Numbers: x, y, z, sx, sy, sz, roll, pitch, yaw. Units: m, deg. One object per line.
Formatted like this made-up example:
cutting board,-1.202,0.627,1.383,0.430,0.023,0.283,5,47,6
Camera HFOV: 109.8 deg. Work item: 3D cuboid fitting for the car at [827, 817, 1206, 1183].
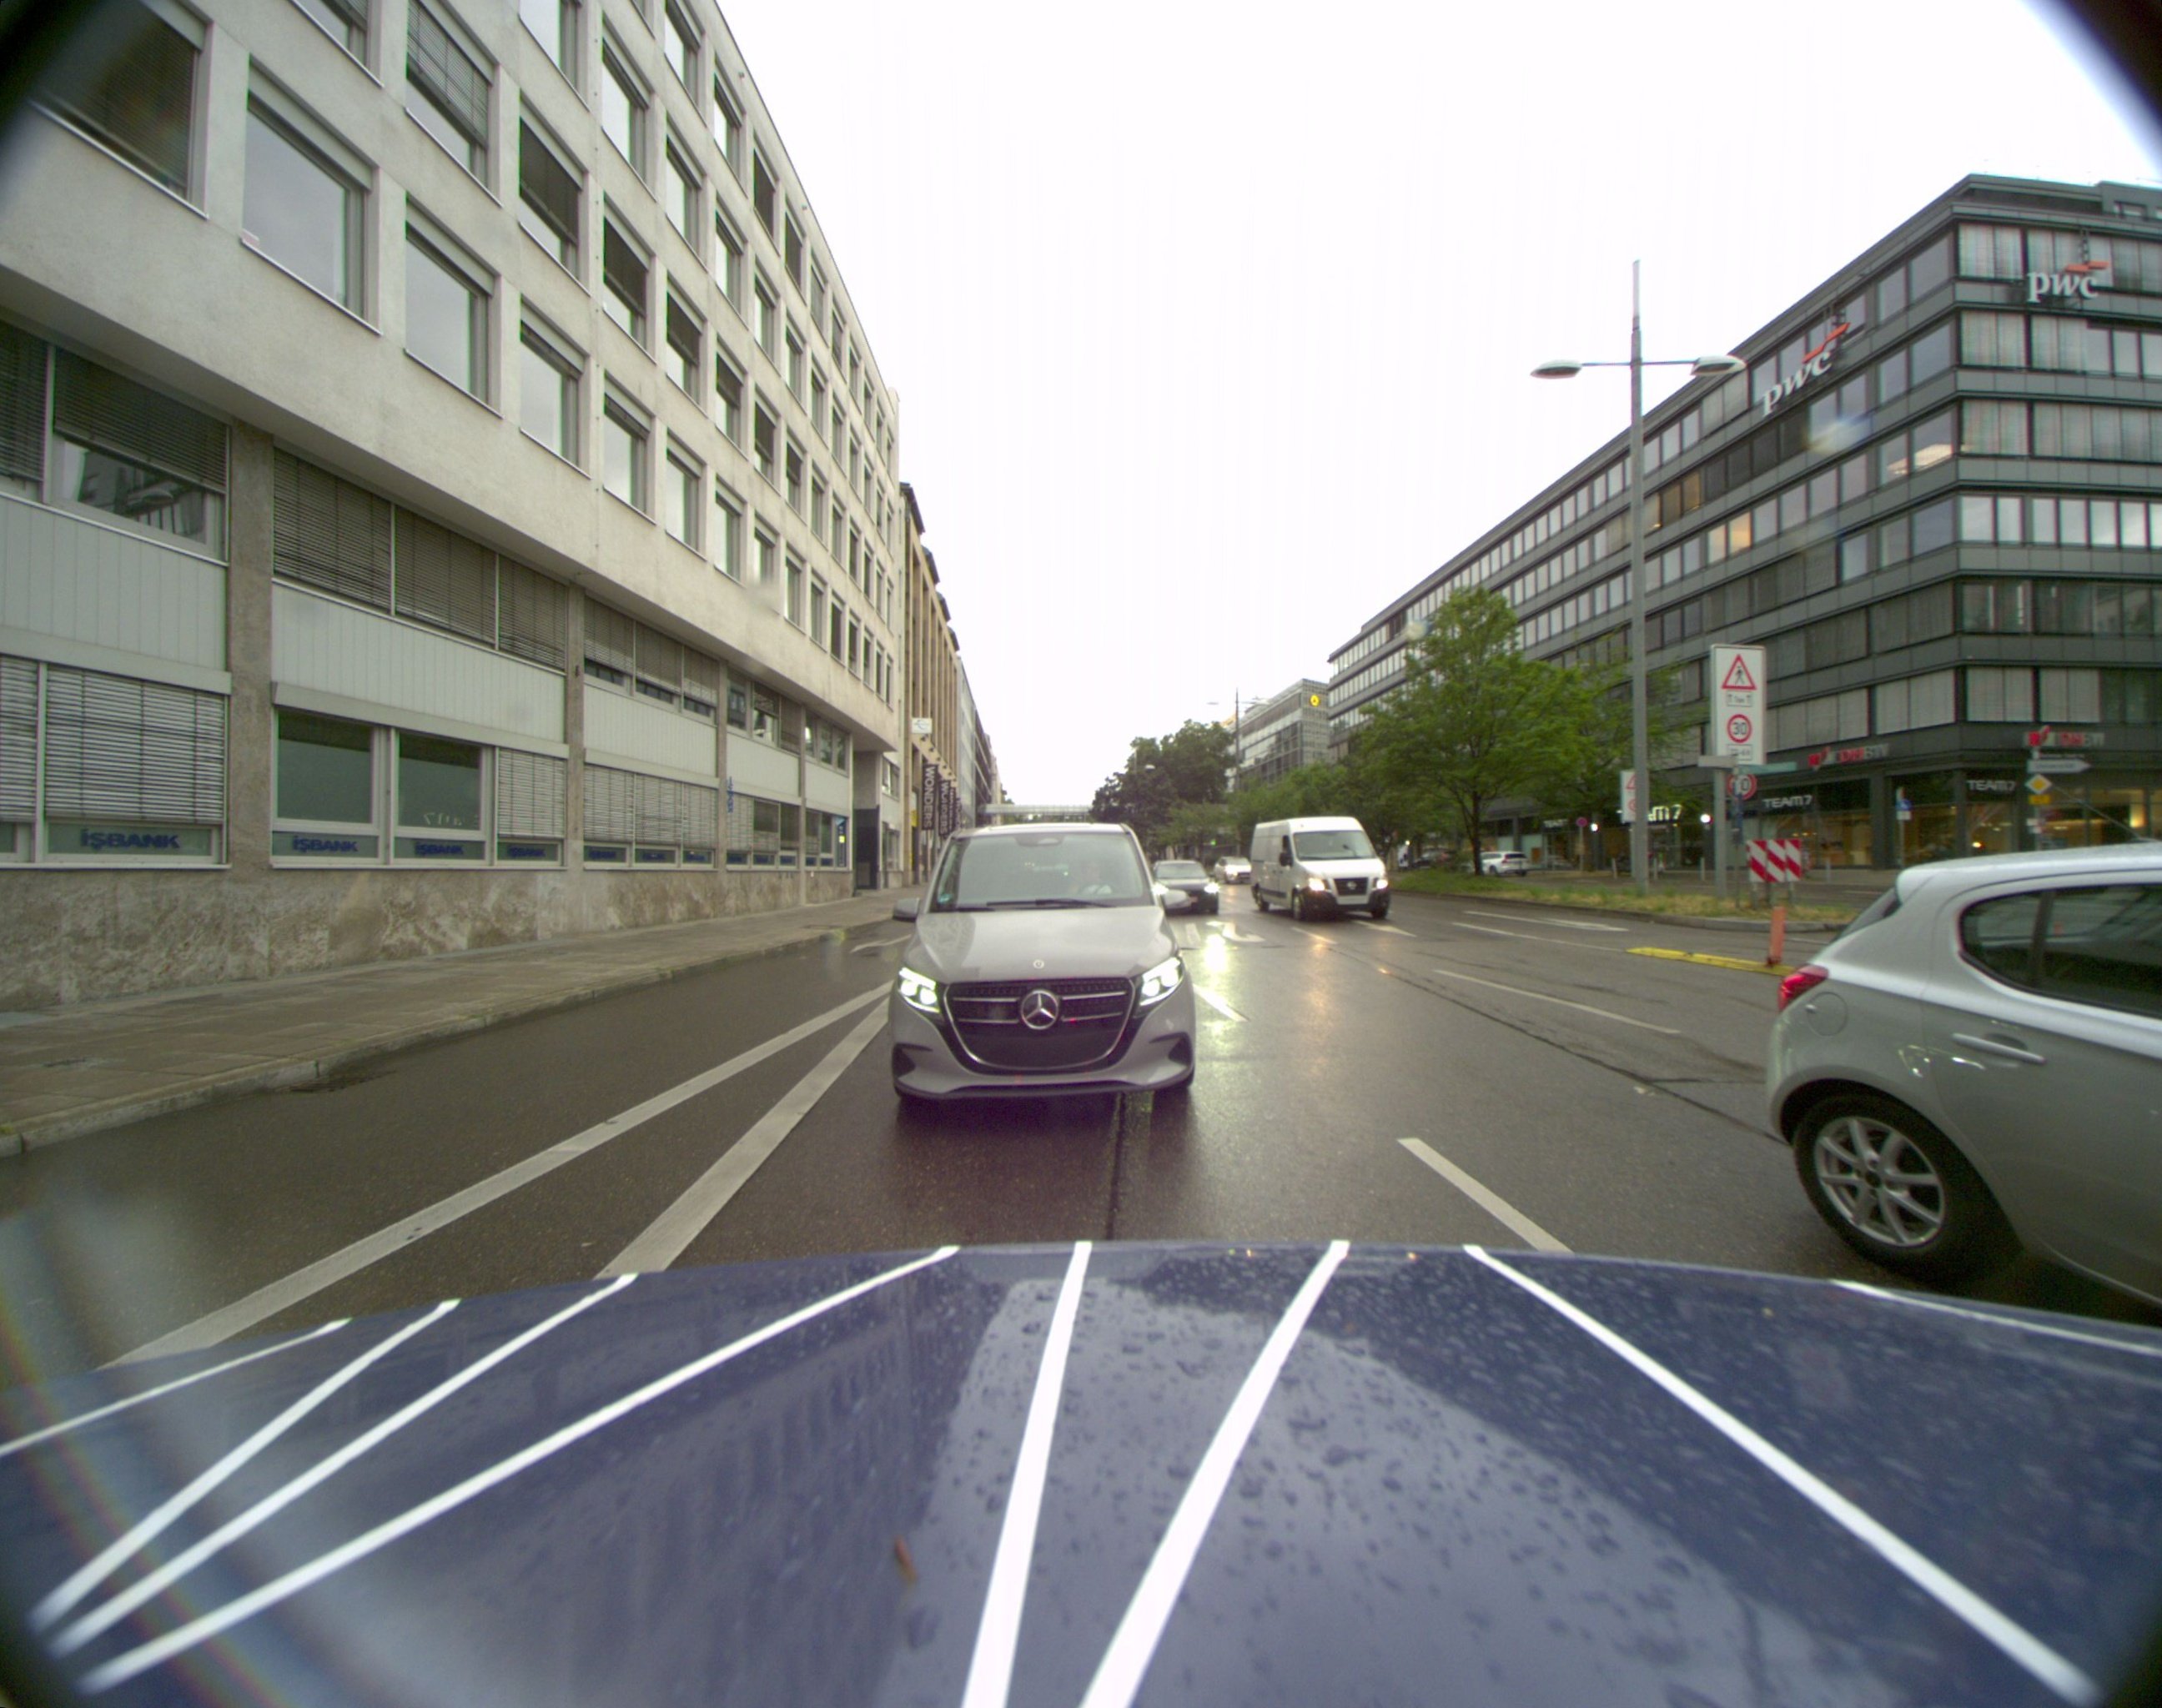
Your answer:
car,-0.351,0.770,6.485,1.916,1.844,5.026,-2,0,0

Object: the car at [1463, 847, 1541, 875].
car,24.100,0.385,43.674,1.999,1.498,3.999,-2,0,-4

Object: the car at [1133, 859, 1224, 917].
car,2.676,0.897,21.717,1.776,1.427,4.093,-2,0,-4

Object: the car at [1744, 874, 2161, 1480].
car,3.507,0.819,1.104,1.652,1.427,3.875,-2,0,0

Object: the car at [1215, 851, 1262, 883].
car,8.595,0.692,41.785,1.766,1.608,3.495,-2,0,-1

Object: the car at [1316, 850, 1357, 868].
car,22.390,0.455,66.677,1.999,1.498,3.999,-2,0,-4

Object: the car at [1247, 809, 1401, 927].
car,5.740,0.308,18.797,1.951,2.426,5.480,-2,0,0

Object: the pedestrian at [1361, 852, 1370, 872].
pedestrian,28.967,0.805,77.455,0.689,2.002,0.501,-2,0,-3

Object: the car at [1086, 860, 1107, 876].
car,1.440,1.300,72.145,1.776,1.372,4.094,-2,0,-1

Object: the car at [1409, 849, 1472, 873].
car,23.642,0.444,50.132,1.999,1.498,4.106,-2,0,-4
